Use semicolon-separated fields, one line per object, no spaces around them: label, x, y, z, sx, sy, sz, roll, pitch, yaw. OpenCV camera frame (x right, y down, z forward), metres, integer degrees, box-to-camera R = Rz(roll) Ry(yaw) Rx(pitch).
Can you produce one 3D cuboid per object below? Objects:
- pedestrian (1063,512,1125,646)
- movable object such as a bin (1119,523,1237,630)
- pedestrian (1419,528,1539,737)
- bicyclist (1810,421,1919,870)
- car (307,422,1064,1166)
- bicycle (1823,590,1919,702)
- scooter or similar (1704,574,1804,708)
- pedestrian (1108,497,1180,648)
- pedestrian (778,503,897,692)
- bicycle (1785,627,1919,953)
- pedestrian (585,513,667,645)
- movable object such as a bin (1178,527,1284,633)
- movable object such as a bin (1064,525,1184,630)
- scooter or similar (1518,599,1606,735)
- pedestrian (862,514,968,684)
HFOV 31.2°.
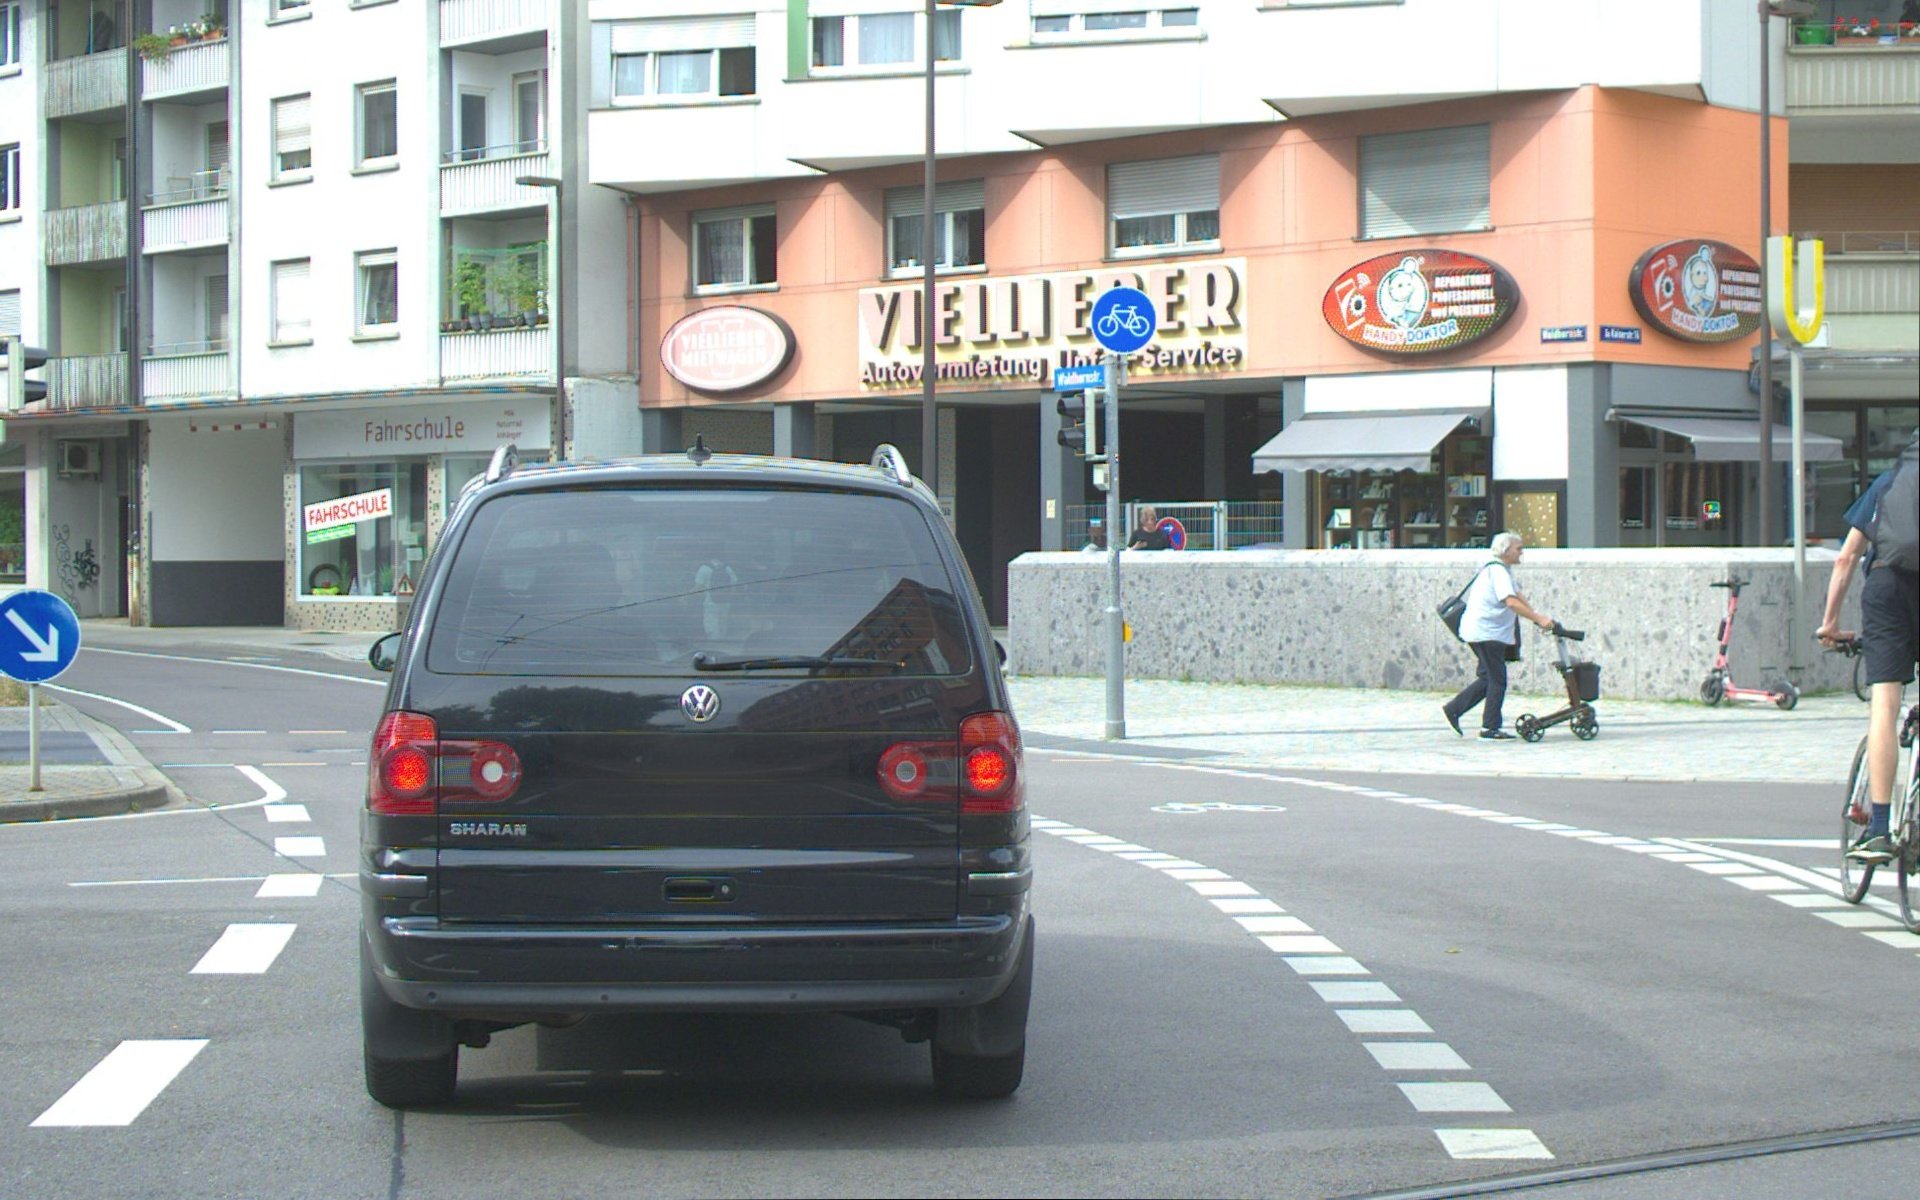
pedestrian;1.700;-0.267;43.589;0.473;1.667;0.589;-4;4;-44
movable object such as a bin;3.128;-0.345;49.305;1.196;1.510;1.194;1;1;44
pedestrian;4.392;0.268;29.069;0.935;1.734;0.685;0;1;14
bicyclist;3.750;0.166;13.494;0.697;1.703;0.907;0;1;8
car;-0.903;0.425;10.101;1.812;1.760;3.739;0;1;-8
bicycle;9.180;0.415;32.755;2.442;1.010;0.544;-1;1;-41
scooter or similar;7.326;0.366;31.760;0.285;1.208;1.126;0;1;-23
pedestrian;2.367;-0.363;44.256;0.672;1.896;0.589;-4;4;-44
pedestrian;-1.306;-0.040;36.644;1.013;1.964;0.719;1;4;40
bicycle;3.656;0.705;13.549;0.390;1.118;1.920;0;2;2
pedestrian;-4.772;-0.302;49.100;0.656;1.845;0.971;-4;3;-41
movable object such as a bin;3.962;-0.301;50.189;1.167;1.510;1.003;1;1;44
movable object such as a bin;2.309;-0.329;48.371;1.223;1.455;1.146;1;1;44
scooter or similar;5.058;0.557;28.870;0.700;1.106;0.608;0;1;13
pedestrian;-0.491;-0.025;37.302;0.885;1.793;0.675;1;4;40
